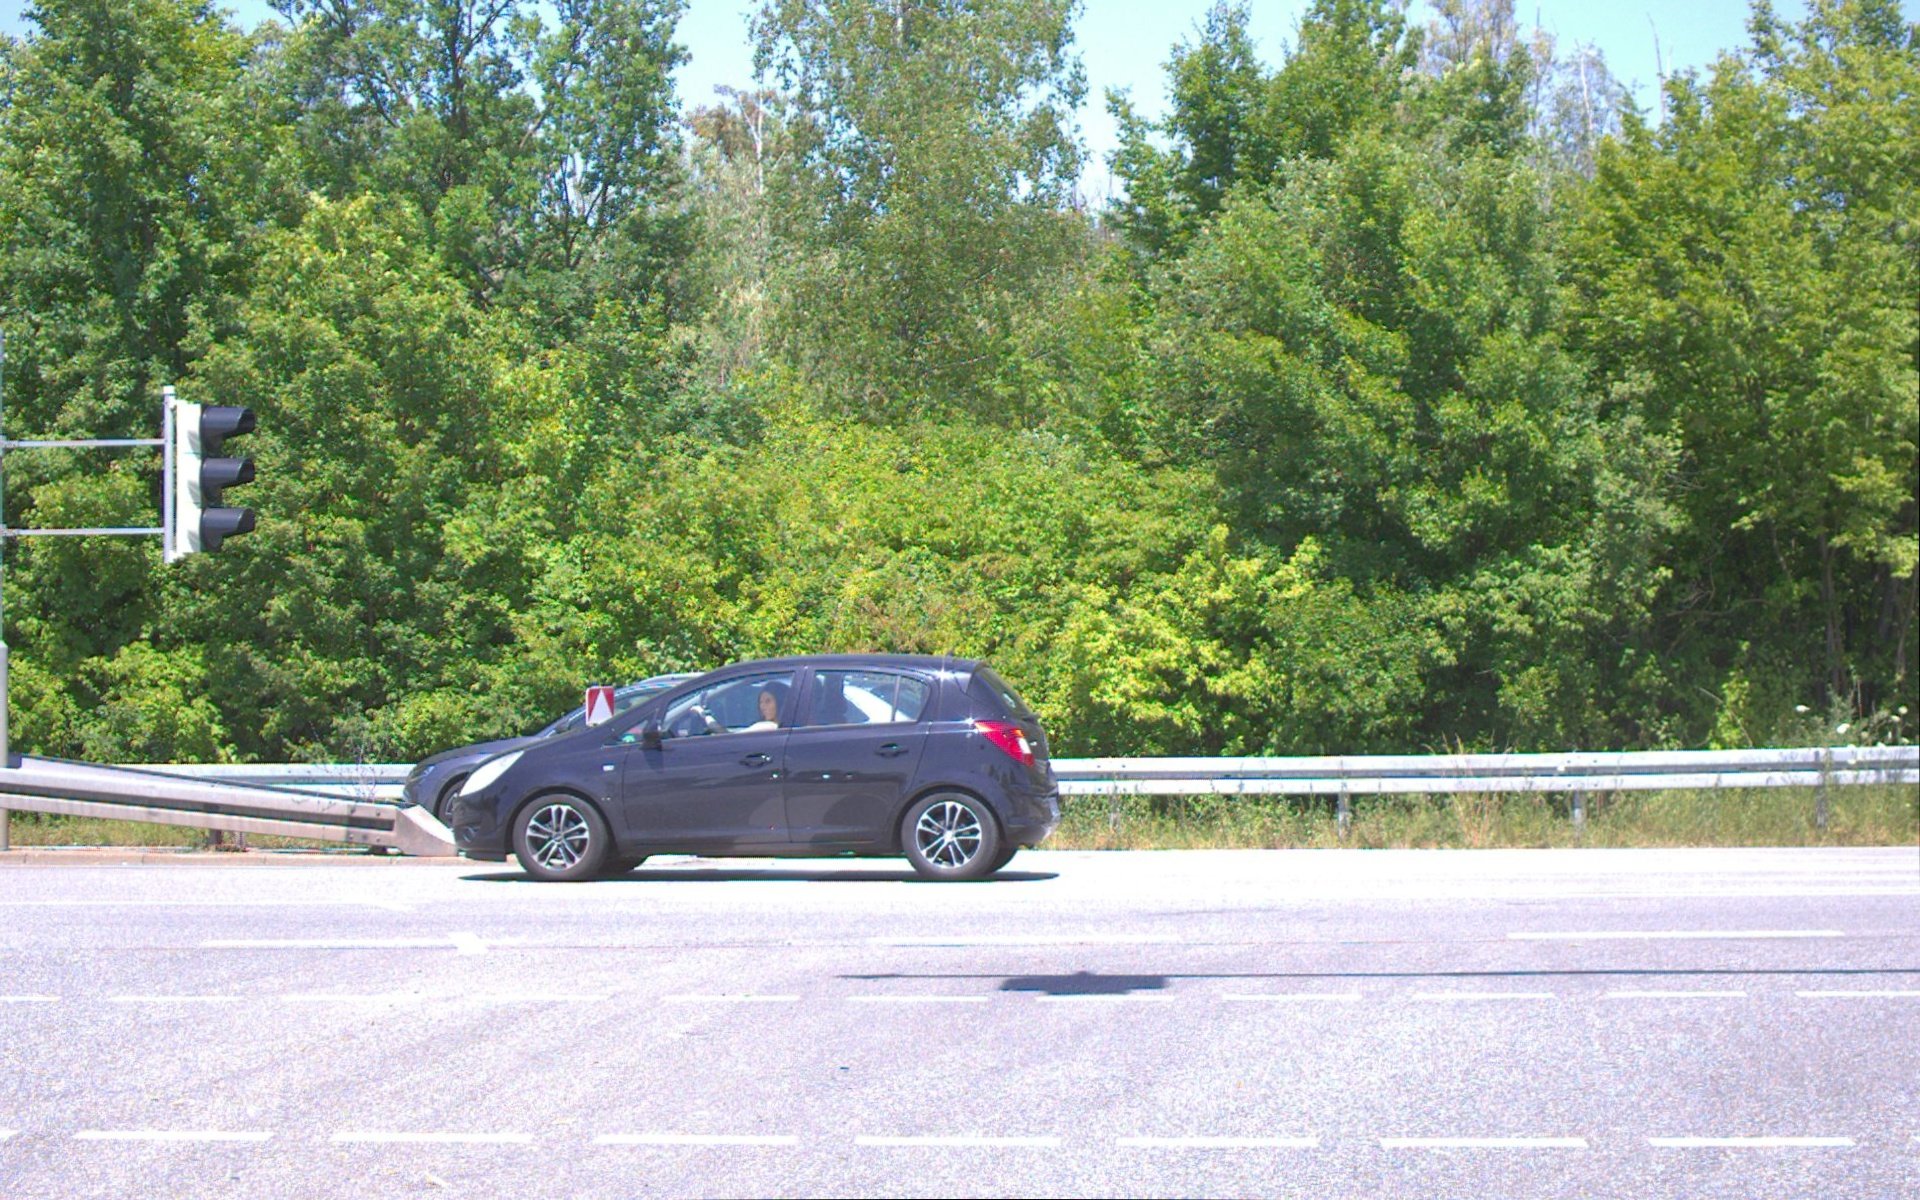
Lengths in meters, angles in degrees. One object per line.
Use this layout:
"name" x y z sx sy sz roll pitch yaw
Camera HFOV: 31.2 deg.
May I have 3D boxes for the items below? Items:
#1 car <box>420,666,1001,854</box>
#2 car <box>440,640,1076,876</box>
"car" -2.014 1.303 28.266 4.401 1.429 1.810 0 -3 13
"car" -1.264 1.032 22.637 3.916 1.429 1.811 1 -3 6
